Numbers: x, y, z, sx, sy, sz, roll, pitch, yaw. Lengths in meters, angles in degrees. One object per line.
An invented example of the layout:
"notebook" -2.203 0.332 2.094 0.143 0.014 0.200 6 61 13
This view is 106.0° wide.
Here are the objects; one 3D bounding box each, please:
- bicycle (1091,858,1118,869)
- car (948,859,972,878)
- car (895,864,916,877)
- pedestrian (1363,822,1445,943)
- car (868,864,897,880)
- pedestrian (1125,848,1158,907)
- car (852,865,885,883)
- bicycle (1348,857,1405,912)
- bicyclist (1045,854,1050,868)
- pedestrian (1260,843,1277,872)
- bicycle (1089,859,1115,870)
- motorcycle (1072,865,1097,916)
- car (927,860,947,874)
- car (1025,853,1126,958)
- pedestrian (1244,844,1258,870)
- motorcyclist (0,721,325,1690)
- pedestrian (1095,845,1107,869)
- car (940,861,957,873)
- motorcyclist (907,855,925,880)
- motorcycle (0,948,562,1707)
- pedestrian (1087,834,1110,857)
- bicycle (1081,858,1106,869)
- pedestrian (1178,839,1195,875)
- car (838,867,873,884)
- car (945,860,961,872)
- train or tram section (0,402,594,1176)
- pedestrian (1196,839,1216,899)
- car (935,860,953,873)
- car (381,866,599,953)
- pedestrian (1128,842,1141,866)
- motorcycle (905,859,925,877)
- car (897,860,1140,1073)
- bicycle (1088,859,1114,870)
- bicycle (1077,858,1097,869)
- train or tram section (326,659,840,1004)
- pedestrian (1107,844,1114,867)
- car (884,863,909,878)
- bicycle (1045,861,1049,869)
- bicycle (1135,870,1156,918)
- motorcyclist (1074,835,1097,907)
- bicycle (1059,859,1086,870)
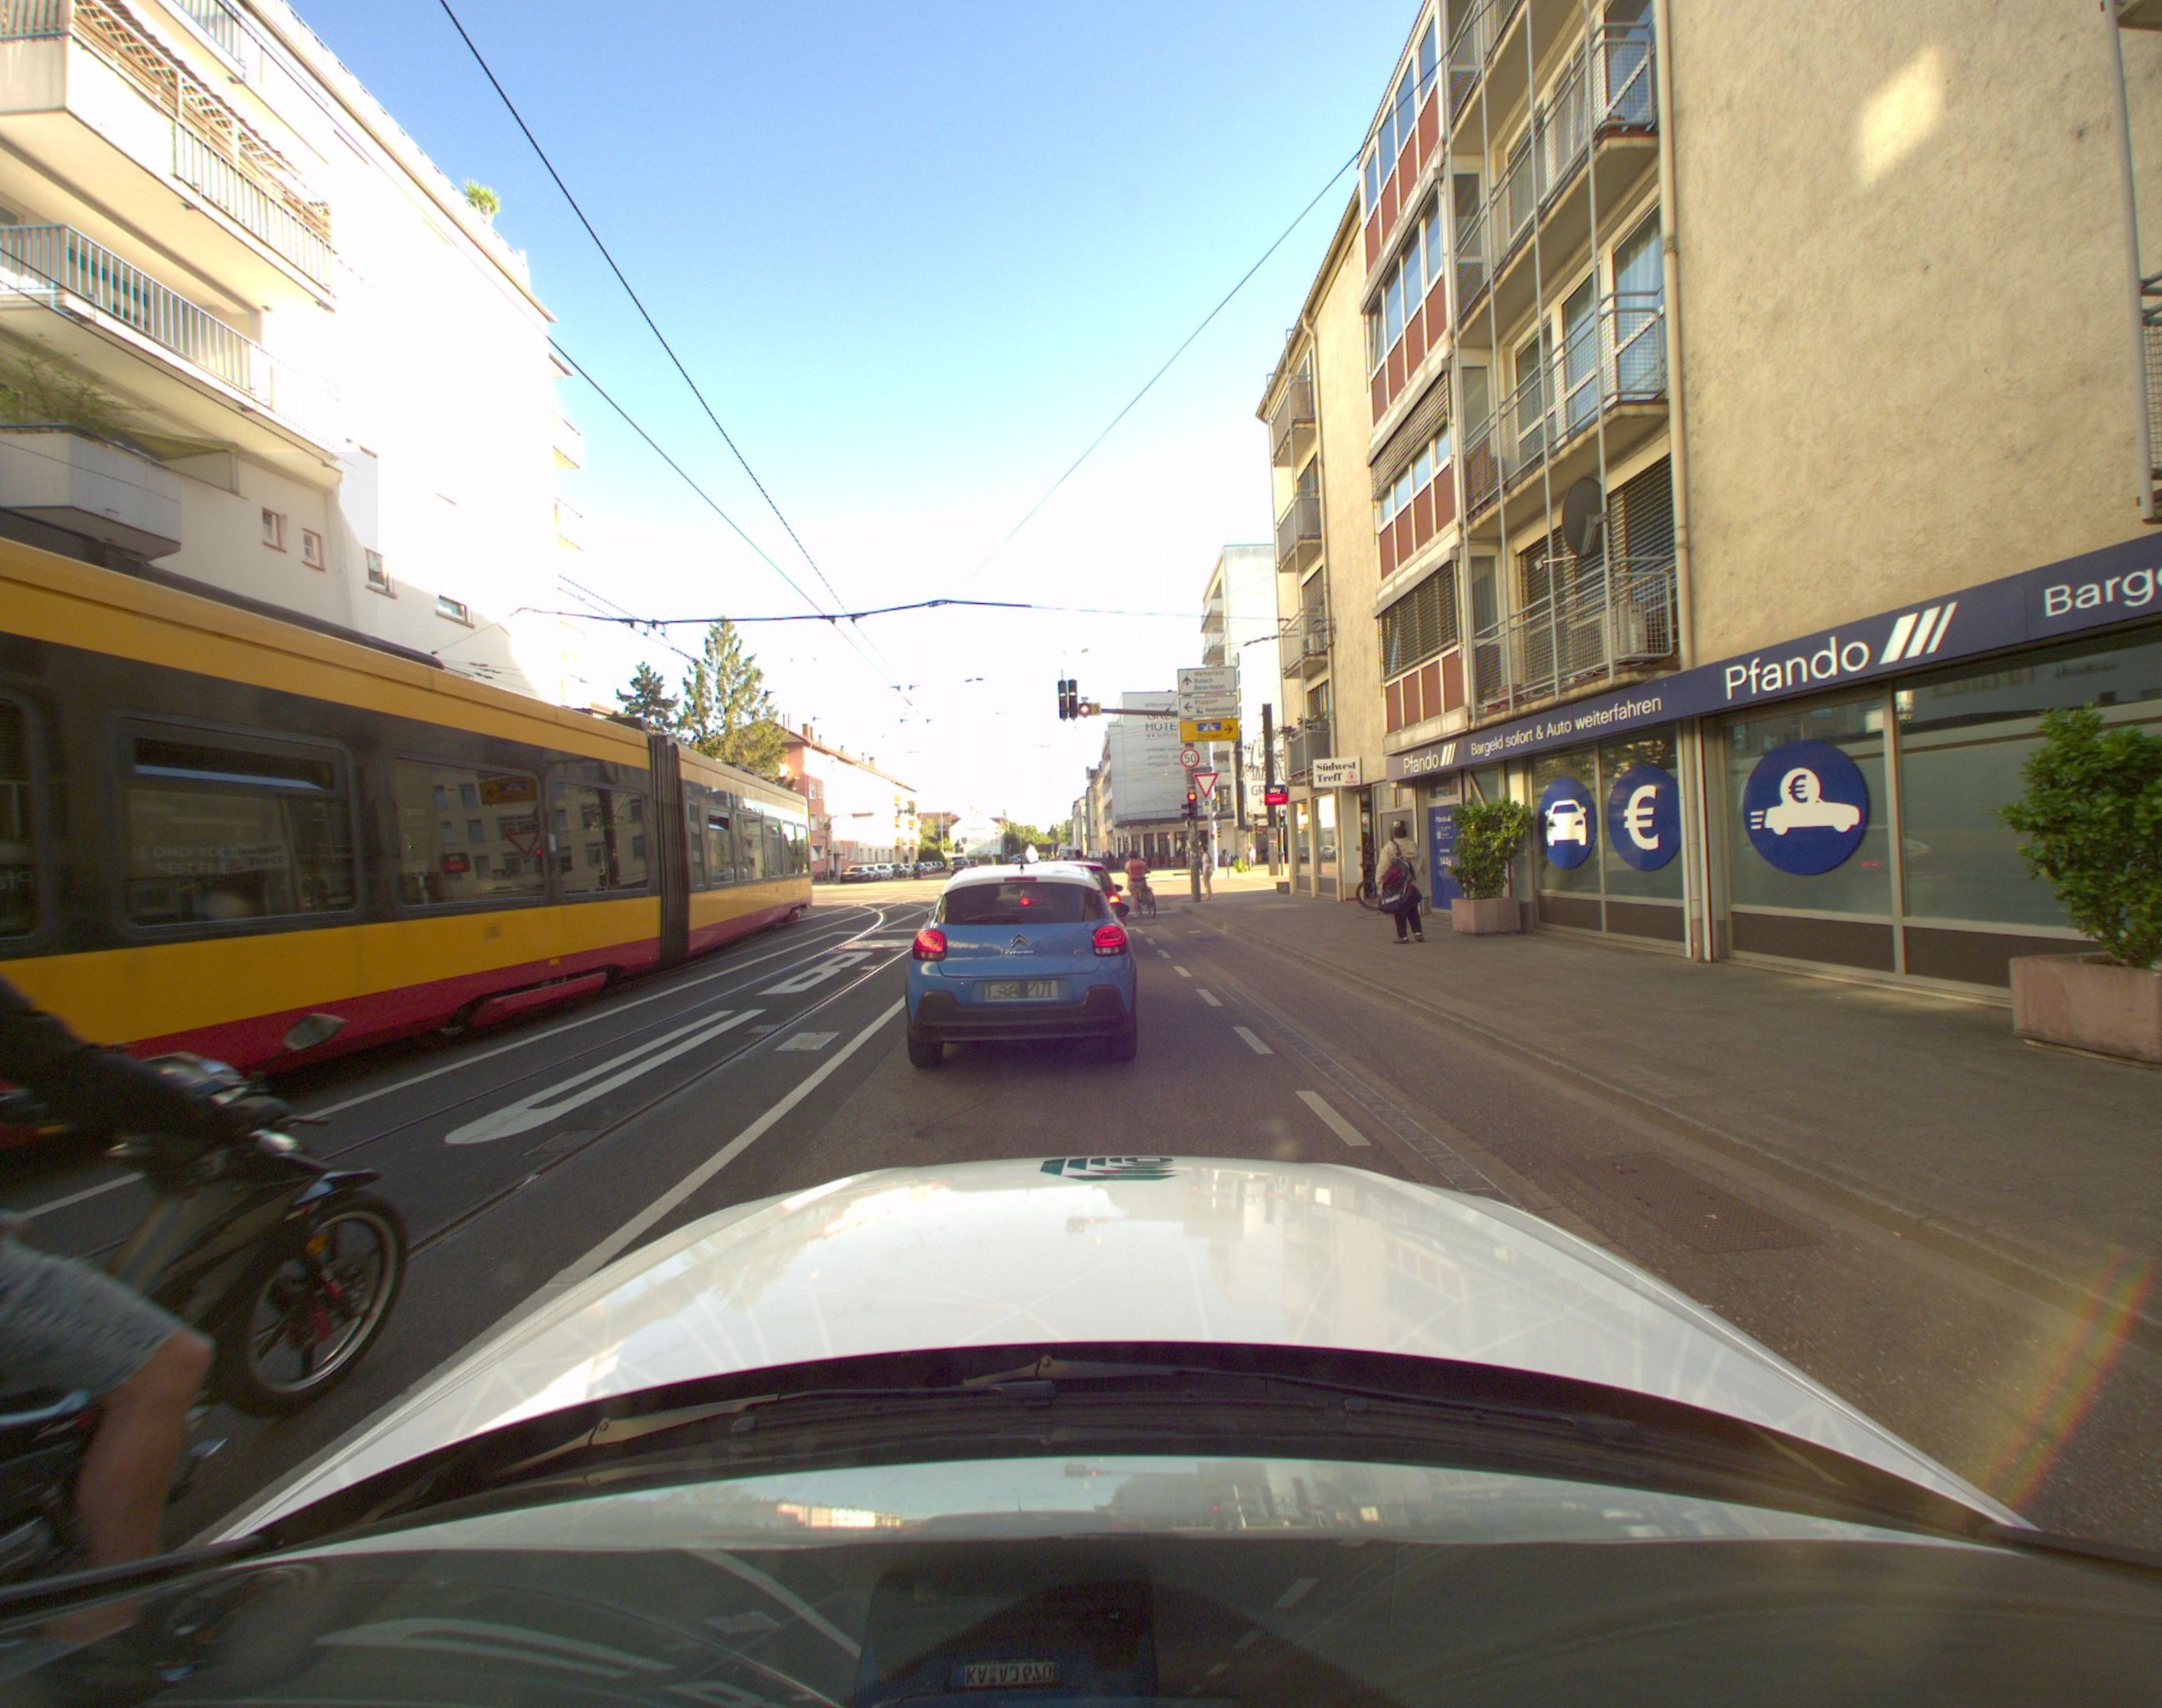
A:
"bicycle" 1.929 0.776 66.029 2.130 0.901 0.366 0 -1 -7
"car" -11.366 1.346 76.838 1.770 1.666 3.854 0 -1 -2
"car" -19.943 1.852 92.688 1.728 1.498 3.996 0 -1 -2
"pedestrian" 4.373 0.376 11.072 0.822 1.593 0.751 0 -1 1
"car" -19.398 1.742 79.601 1.781 1.511 4.150 0 -1 1
"pedestrian" 1.497 0.581 20.321 0.774 1.460 0.682 0 -1 1
"car" -19.271 1.783 73.987 1.808 1.498 4.302 0 -1 2
"bicycle" 5.689 0.560 15.761 0.540 0.998 1.706 0 -1 2
"bicyclist" -3.668 0.774 88.736 0.559 1.477 0.747 0 -1 -2
"pedestrian" 10.985 0.196 47.683 0.750 1.657 0.883 0 -1 -2
"bicycle" 1.701 0.874 67.373 2.130 0.901 0.366 0 -1 -7
"motorcycle" 0.108 0.837 19.573 0.524 1.139 2.290 0 -1 2
"car" -18.891 1.680 106.820 1.978 1.687 3.998 0 -1 -1
"car" -0.036 0.770 13.322 1.419 1.467 2.925 -2 -1 2
"pedestrian" 10.360 0.177 49.582 0.733 1.601 0.749 0 -1 4
"motorcyclist" -2.103 0.549 1.494 0.857 1.505 0.598 0 -1 1
"pedestrian" 1.701 0.268 69.336 0.635 2.014 0.717 0 -1 -34
"car" -19.053 1.886 117.314 1.828 1.687 3.998 0 -1 -1
"motorcyclist" -13.688 1.110 67.749 1.182 2.013 1.275 -2 0 -1
"motorcycle" -2.094 0.930 1.829 0.535 1.219 1.982 0 -1 2
"pedestrian" 1.627 -0.720 73.705 1.986 2.014 4.001 0 -1 2
"bicycle" 1.048 0.827 68.489 2.130 0.901 0.366 0 -1 -7
"pedestrian" 6.080 0.178 46.952 0.922 2.014 0.760 0 -1 1
"car" -19.186 1.814 69.451 1.787 1.421 3.996 0 -1 1
"car" -19.167 1.771 121.909 1.841 1.687 3.872 0 -1 -1
"train or tram section" -6.485 -0.299 4.092 2.818 3.631 9.077 0 0 -2
"pedestrian" 3.720 0.442 24.248 0.515 1.783 0.595 0 -1 0
"car" -18.814 1.686 111.795 1.877 1.687 3.998 0 -1 -1
"car" -12.712 1.110 17.904 1.864 1.531 4.068 -2 0 -2
"pedestrian" 4.455 0.008 68.015 0.714 2.014 0.751 0 -1 -35
"motorcycle" -13.689 1.141 67.374 0.921 1.486 3.724 0 -1 -1
"car" -0.373 0.781 7.304 1.648 1.444 3.524 0 -1 2
"bicycle" 1.635 0.838 67.784 2.130 0.901 0.366 0 -1 -7
"bicycle" 0.524 0.827 69.481 1.765 0.901 0.369 -1 -1 36
"train or tram section" -7.385 -0.184 15.820 2.742 3.632 14.231 0 0 -7
"pedestrian" 2.517 0.152 70.400 0.575 2.014 0.625 0 -1 -1
"car" -19.577 1.713 86.675 1.781 1.498 3.998 0 -1 -1
"bicycle" -3.674 1.191 89.226 0.347 0.903 1.859 0 -1 0
"bicycle" 1.617 0.977 20.562 0.426 1.123 1.999 0 -1 2
"motorcyclist" 0.115 0.404 19.764 0.524 1.716 0.717 0 -1 2
"bicycle" -0.712 0.883 66.390 2.130 0.901 0.366 0 -1 -7
